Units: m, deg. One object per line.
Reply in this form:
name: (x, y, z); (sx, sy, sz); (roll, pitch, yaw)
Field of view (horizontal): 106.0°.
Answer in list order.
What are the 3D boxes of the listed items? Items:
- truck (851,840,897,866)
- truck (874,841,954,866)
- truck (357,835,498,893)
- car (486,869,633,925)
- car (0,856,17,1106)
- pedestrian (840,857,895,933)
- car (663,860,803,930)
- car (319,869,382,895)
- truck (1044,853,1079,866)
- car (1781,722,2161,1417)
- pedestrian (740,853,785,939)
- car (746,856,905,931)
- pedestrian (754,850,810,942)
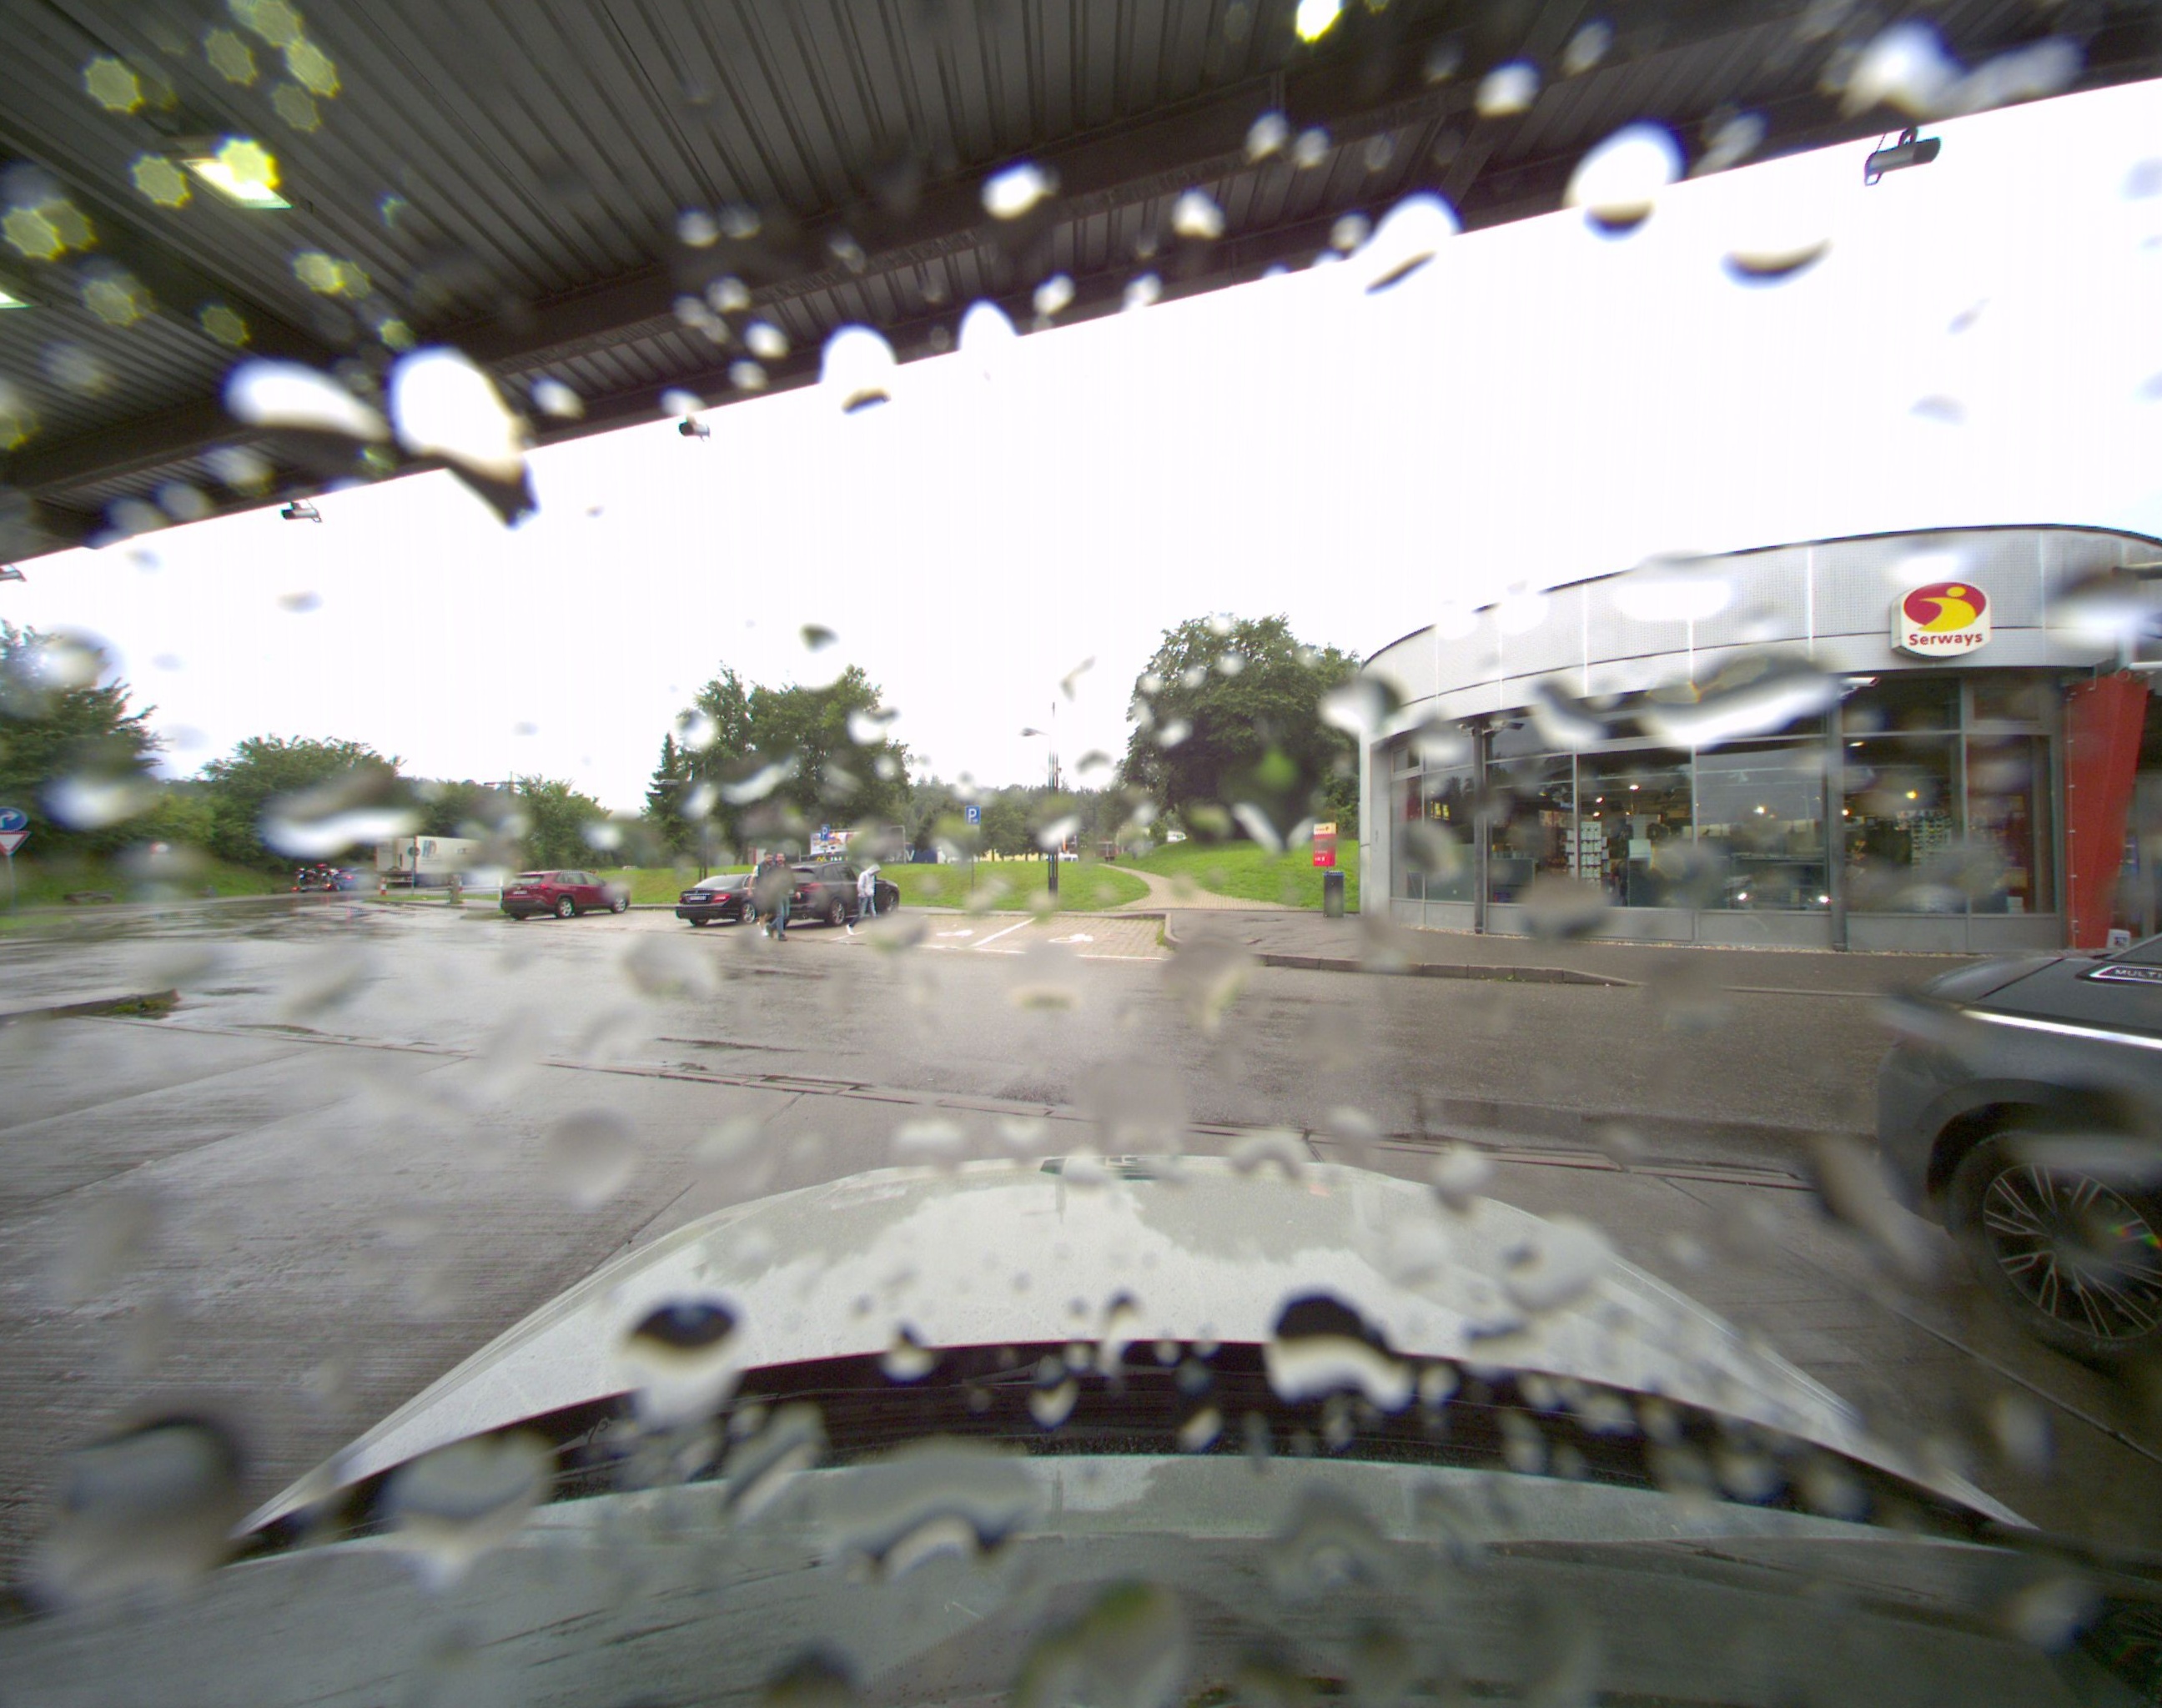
truck: (-24.172, -0.088, 95.475); (2.165, 2.920, 5.419); (-1, -1, 27)
truck: (-20.738, -0.057, 102.366); (2.165, 2.920, 13.175); (-1, -1, 26)
truck: (-55.434, 0.841, 70.001); (3.550, 4.340, 16.899); (0, -1, -18)
car: (-18.132, 1.441, 28.611); (1.928, 1.644, 4.352); (-2, 0, 7)
car: (-7.966, 0.801, 2.693); (1.854, 1.608, 5.273); (0, -1, 2)
pedestrian: (-4.748, 0.892, 18.115); (0.943, 1.631, 0.707); (-1, -1, 20)
car: (-9.830, 1.080, 23.442); (2.010, 1.711, 4.344); (-2, 0, 1)
car: (-50.335, 1.880, 56.196); (1.814, 1.681, 3.927); (0, -1, -18)
truck: (-3.230, 0.874, 134.122); (5.356, 2.014, 2.381); (-1, -1, 26)
car: (3.675, 0.541, 0.693); (1.854, 1.798, 5.142); (0, -1, 2)
pedestrian: (-7.231, 0.931, 18.475); (0.707, 1.887, 0.943); (0, -1, -39)
car: (-6.645, 0.969, 21.797); (2.002, 1.711, 4.360); (-2, 0, 14)
pedestrian: (-6.336, 0.873, 17.266); (0.882, 1.887, 0.708); (-1, -1, 29)
